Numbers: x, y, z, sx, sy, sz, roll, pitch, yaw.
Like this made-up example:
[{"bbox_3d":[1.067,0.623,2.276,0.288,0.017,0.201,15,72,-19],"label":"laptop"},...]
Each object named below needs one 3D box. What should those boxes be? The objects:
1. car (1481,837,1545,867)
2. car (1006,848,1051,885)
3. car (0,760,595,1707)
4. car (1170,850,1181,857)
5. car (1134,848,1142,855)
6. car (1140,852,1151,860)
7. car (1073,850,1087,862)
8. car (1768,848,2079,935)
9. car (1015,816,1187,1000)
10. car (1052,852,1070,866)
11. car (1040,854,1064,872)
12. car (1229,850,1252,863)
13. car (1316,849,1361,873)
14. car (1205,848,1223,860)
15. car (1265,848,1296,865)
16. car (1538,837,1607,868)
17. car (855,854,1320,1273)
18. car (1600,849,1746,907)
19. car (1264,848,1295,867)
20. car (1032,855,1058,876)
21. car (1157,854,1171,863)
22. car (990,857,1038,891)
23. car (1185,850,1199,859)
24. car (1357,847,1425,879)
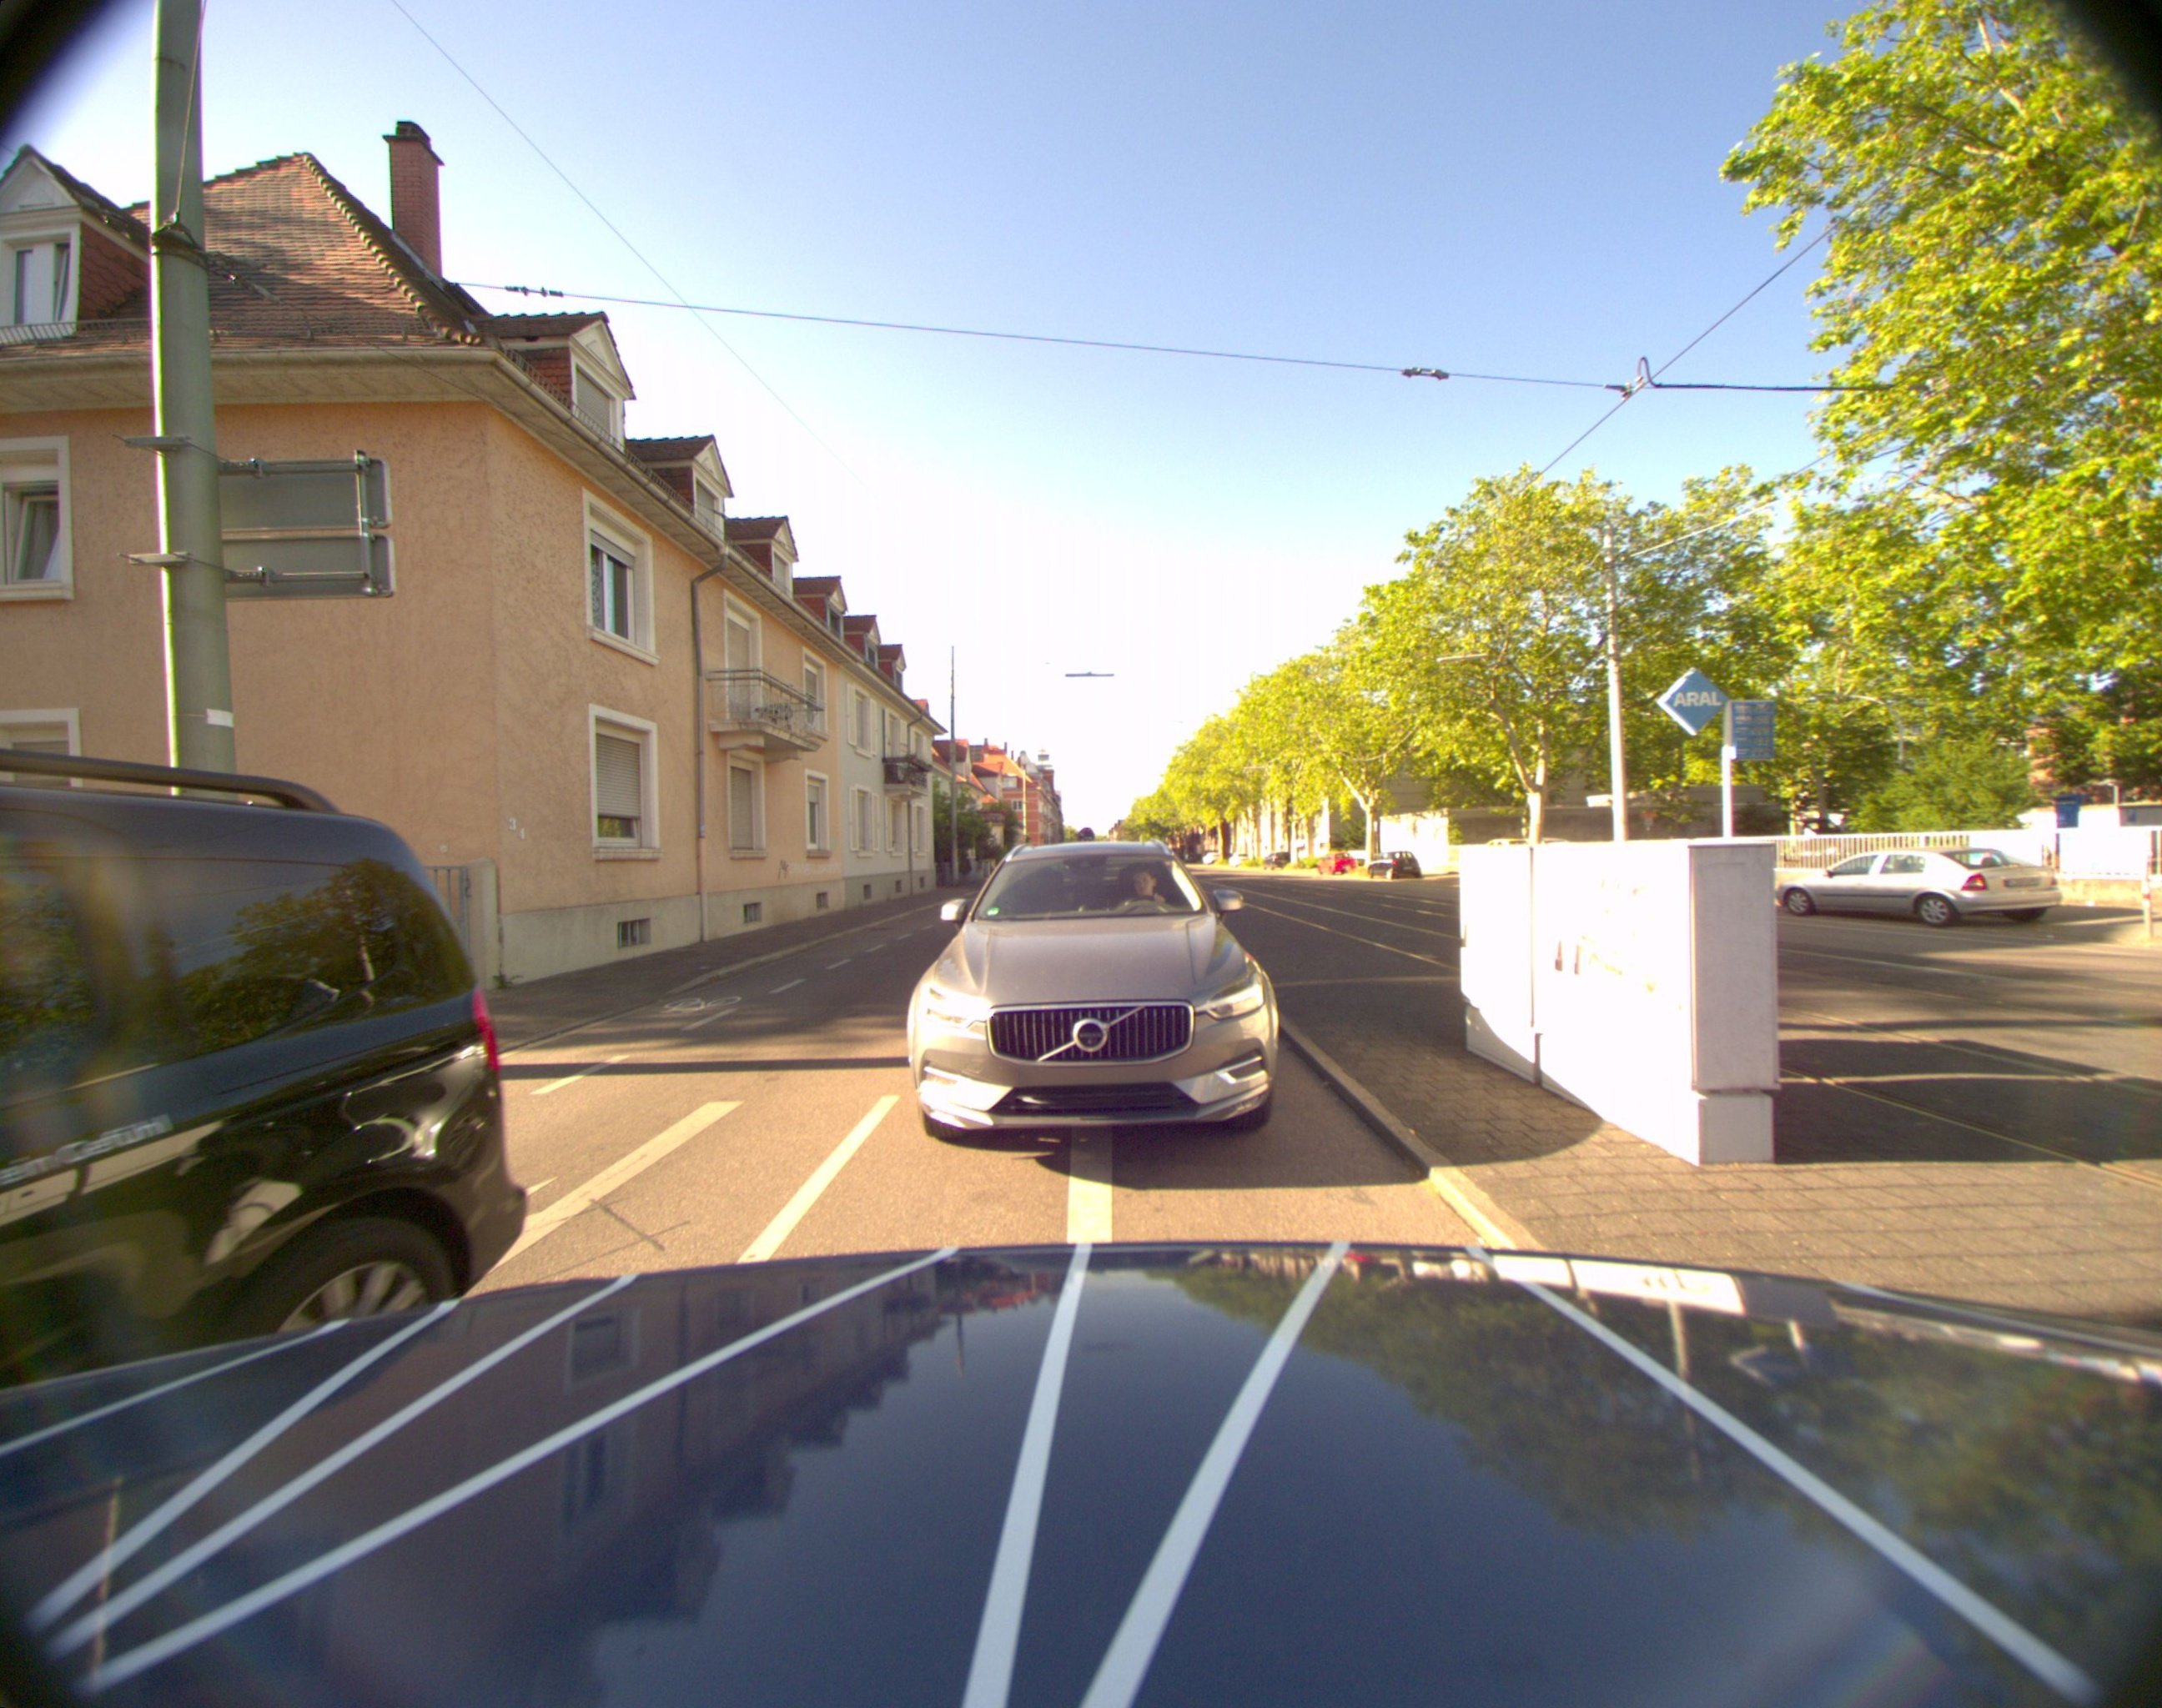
[{"bbox_3d":[21.715,-0.114,38.291,1.545,1.412,3.151,-2,1,4],"label":"car"},{"bbox_3d":[-2.900,0.628,43.783,1.937,1.888,7.210,-2,1,1],"label":"car"},{"bbox_3d":[-2.890,0.769,0.559,1.866,1.794,4.778,-2,1,1],"label":"car"},{"bbox_3d":[18.583,-0.078,149.054,1.700,1.401,3.999,-1,1,1],"label":"car"},{"bbox_3d":[14.842,-0.629,198.443,1.850,1.835,4.394,-1,1,-1],"label":"car"},{"bbox_3d":[13.558,0.437,160.131,1.700,1.412,3.999,13,1,1],"label":"car"},{"bbox_3d":[-0.159,0.263,106.492,1.841,1.449,3.999,-2,1,1],"label":"car"},{"bbox_3d":[16.255,0.622,15.024,1.731,1.412,3.999,-2,1,1],"label":"car"},{"bbox_3d":[0.236,0.594,11.127,1.912,2.048,4.763,-2,1,0],"label":"car"},{"bbox_3d":[-2.182,0.577,85.440,1.841,1.449,3.999,-2,1,1],"label":"car"},{"bbox_3d":[-2.532,0.797,67.003,1.841,1.449,3.999,-2,1,1],"label":"car"},{"bbox_3d":[17.516,0.245,83.525,1.700,1.401,3.999,-1,1,1],"label":"car"},{"bbox_3d":[16.994,0.418,50.354,1.700,1.460,3.999,-1,1,1],"label":"car"},{"bbox_3d":[17.664,0.002,100.787,1.700,1.548,3.999,-1,1,1],"label":"car"},{"bbox_3d":[17.285,0.223,65.917,1.700,1.401,3.999,-1,1,1],"label":"car"},{"bbox_3d":[24.274,-0.100,37.646,1.545,1.412,3.151,-2,1,4],"label":"car"},{"bbox_3d":[0.038,0.892,5.607,1.912,1.666,4.763,-2,1,0],"label":"car"},{"bbox_3d":[16.361,0.606,21.210,1.546,1.412,3.254,-2,1,1],"label":"car"},{"bbox_3d":[17.167,0.316,65.998,1.700,1.566,3.999,-1,1,1],"label":"car"},{"bbox_3d":[-2.827,0.881,60.594,1.841,1.449,3.999,-2,1,1],"label":"car"},{"bbox_3d":[14.725,0.792,134.920,1.912,1.514,4.763,0,1,0],"label":"car"},{"bbox_3d":[-3.198,0.936,36.954,1.841,1.449,3.999,-2,1,1],"label":"car"},{"bbox_3d":[18.333,0.016,125.564,1.700,1.401,3.999,-1,1,1],"label":"car"},{"bbox_3d":[16.767,0.442,41.354,1.753,1.514,4.434,-5,1,-1],"label":"car"}]
